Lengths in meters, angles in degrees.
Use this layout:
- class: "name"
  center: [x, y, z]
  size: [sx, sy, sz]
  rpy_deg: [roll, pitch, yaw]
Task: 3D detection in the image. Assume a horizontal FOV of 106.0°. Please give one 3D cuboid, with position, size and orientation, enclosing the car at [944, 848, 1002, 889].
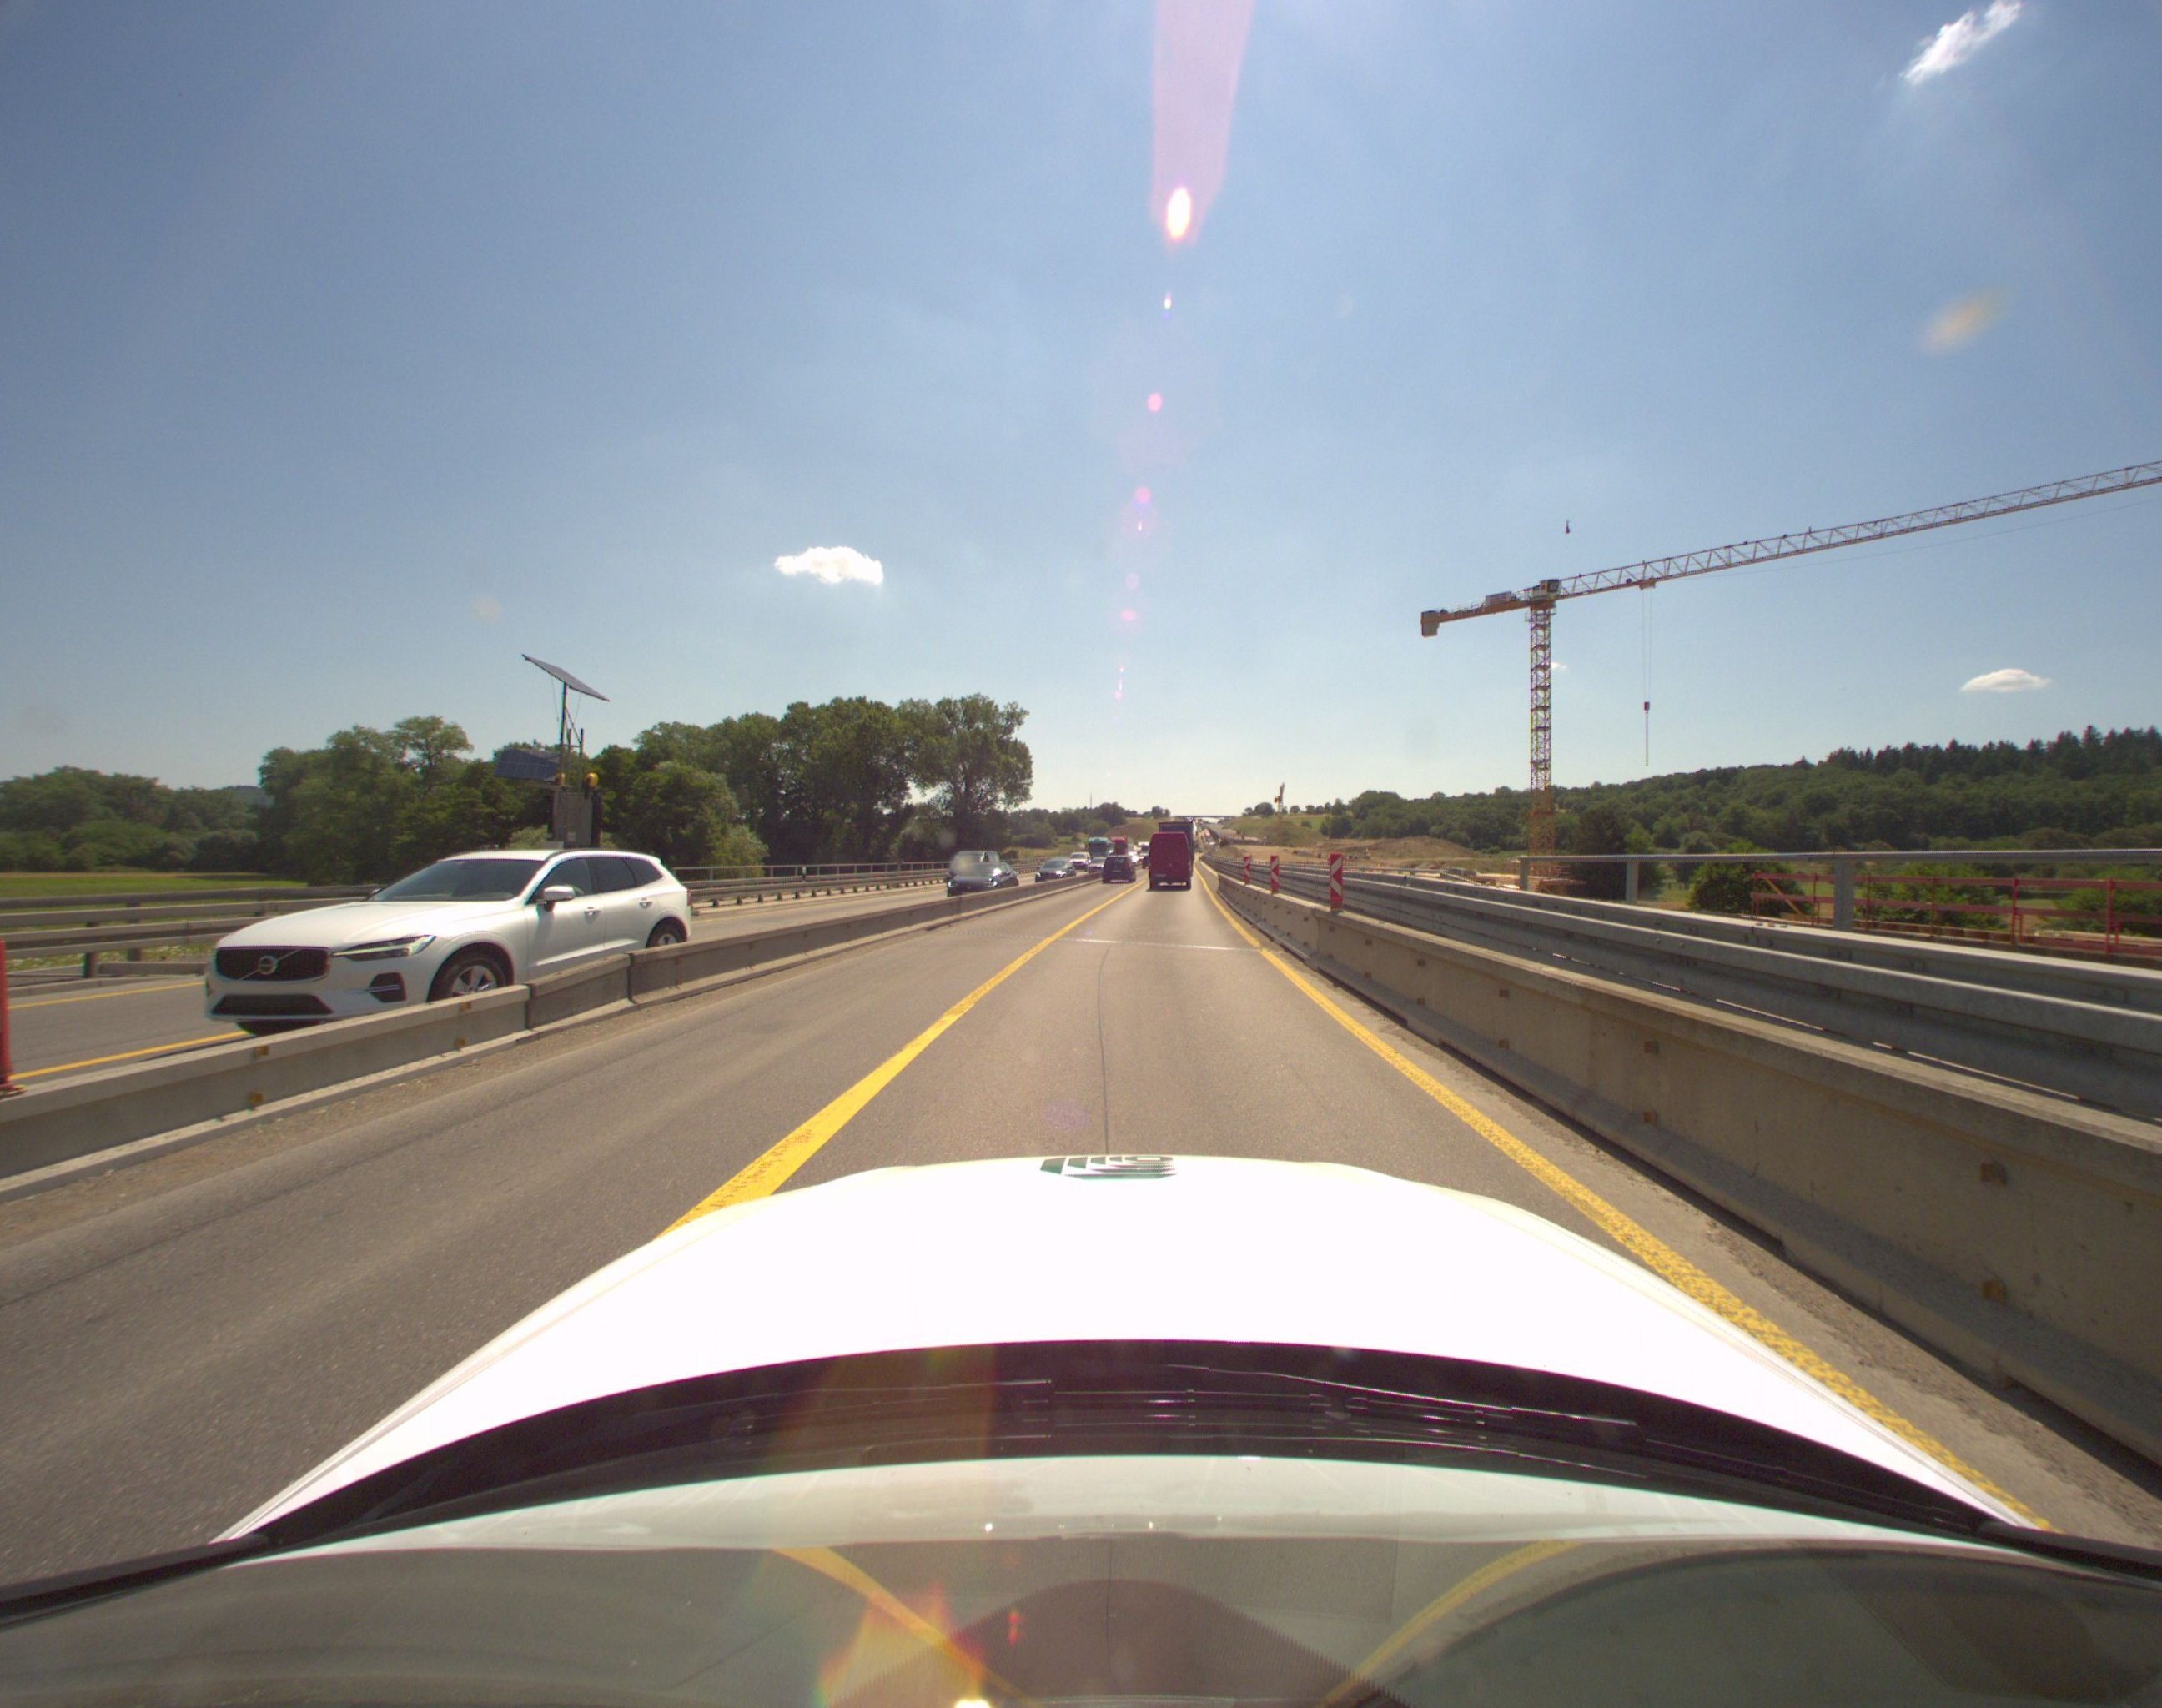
- class: "car"
  center: [-5.501, 0.721, 42.188]
  size: [1.811, 1.943, 5.073]
  rpy_deg: [0, 0, 6]

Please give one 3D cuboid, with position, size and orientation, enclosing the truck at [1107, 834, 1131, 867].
- class: "truck"
  center: [6.022, -0.466, 127.194]
  size: [2.794, 4.939, 12.154]
  rpy_deg: [0, 0, 6]

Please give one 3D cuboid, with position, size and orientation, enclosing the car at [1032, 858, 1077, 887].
- class: "car"
  center: [-1.386, 0.982, 44.370]
  size: [1.748, 1.496, 4.448]
  rpy_deg: [0, 0, 7]

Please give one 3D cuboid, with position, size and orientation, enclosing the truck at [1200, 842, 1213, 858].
- class: "truck"
  center: [25.507, -0.788, 165.120]
  size: [2.279, 3.196, 6.493]
  rpy_deg: [0, 0, 6]

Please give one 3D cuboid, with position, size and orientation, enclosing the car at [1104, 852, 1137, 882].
- class: "car"
  center: [2.427, 0.757, 49.131]
  size: [1.725, 1.635, 4.398]
  rpy_deg: [0, 1, 6]

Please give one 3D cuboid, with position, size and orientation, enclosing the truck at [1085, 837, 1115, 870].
- class: "truck"
  center: [2.620, -0.064, 105.530]
  size: [2.794, 3.964, 12.154]
  rpy_deg: [0, 0, 6]

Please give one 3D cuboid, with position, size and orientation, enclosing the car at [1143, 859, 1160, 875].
- class: "car"
  center: [7.919, 1.443, 91.581]
  size: [1.811, 1.697, 4.141]
  rpy_deg: [0, 0, 6]

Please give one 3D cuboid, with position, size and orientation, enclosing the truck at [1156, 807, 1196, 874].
- class: "truck"
  center: [7.390, -1.000, 63.897]
  size: [2.930, 4.946, 6.751]
  rpy_deg: [0, 0, 6]

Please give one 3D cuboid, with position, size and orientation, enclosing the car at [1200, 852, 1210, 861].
- class: "car"
  center: [22.135, 0.426, 145.603]
  size: [1.609, 1.700, 3.897]
  rpy_deg: [0, 0, 7]

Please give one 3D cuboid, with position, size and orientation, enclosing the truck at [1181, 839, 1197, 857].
- class: "truck"
  center: [22.662, -1.181, 171.104]
  size: [3.166, 2.978, 8.913]
  rpy_deg: [0, -4, 7]

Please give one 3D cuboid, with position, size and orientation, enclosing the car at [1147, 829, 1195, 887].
- class: "car"
  center: [4.369, 0.269, 39.655]
  size: [2.139, 2.611, 5.446]
  rpy_deg: [1, -2, 6]

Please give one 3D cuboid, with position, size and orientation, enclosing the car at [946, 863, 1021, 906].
- class: "car"
  center: [-3.368, 1.034, 28.923]
  size: [1.660, 1.365, 4.448]
  rpy_deg: [0, 0, 7]

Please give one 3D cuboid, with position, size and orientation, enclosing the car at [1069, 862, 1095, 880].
- class: "car"
  center: [0.143, 1.552, 75.488]
  size: [1.811, 1.496, 5.181]
  rpy_deg: [0, 0, 6]

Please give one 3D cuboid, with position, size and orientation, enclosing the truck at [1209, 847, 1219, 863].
- class: "truck"
  center: [34.413, 0.351, 210.668]
  size: [2.279, 3.740, 6.493]
  rpy_deg: [0, -4, 7]

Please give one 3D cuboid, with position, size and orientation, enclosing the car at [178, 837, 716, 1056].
- class: "car"
  center: [-5.945, 0.666, 8.583]
  size: [1.812, 1.647, 4.577]
  rpy_deg: [0, 1, 5]

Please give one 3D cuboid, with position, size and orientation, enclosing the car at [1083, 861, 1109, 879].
- class: "car"
  center: [1.300, 1.314, 68.270]
  size: [1.811, 1.496, 4.141]
  rpy_deg: [0, 0, 6]

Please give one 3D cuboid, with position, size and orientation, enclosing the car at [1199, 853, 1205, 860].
- class: "car"
  center: [34.115, 0.821, 229.193]
  size: [1.609, 1.836, 3.895]
  rpy_deg: [0, -2, 6]

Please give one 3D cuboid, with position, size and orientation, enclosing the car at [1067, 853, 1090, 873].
- class: "car"
  center: [-0.239, 0.910, 82.488]
  size: [1.984, 2.014, 4.005]
  rpy_deg: [0, 0, 4]

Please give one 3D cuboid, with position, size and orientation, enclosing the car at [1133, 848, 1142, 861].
- class: "car"
  center: [10.896, 0.082, 156.793]
  size: [1.609, 2.602, 3.897]
  rpy_deg: [0, 0, 7]

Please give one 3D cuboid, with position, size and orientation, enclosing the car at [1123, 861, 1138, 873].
- class: "car"
  center: [6.413, 1.622, 105.225]
  size: [1.701, 1.496, 3.607]
  rpy_deg: [0, 0, 6]

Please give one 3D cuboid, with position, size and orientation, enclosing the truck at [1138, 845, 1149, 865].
- class: "truck"
  center: [13.812, 0.291, 179.512]
  size: [1.983, 4.007, 6.492]
  rpy_deg: [0, -4, 7]
